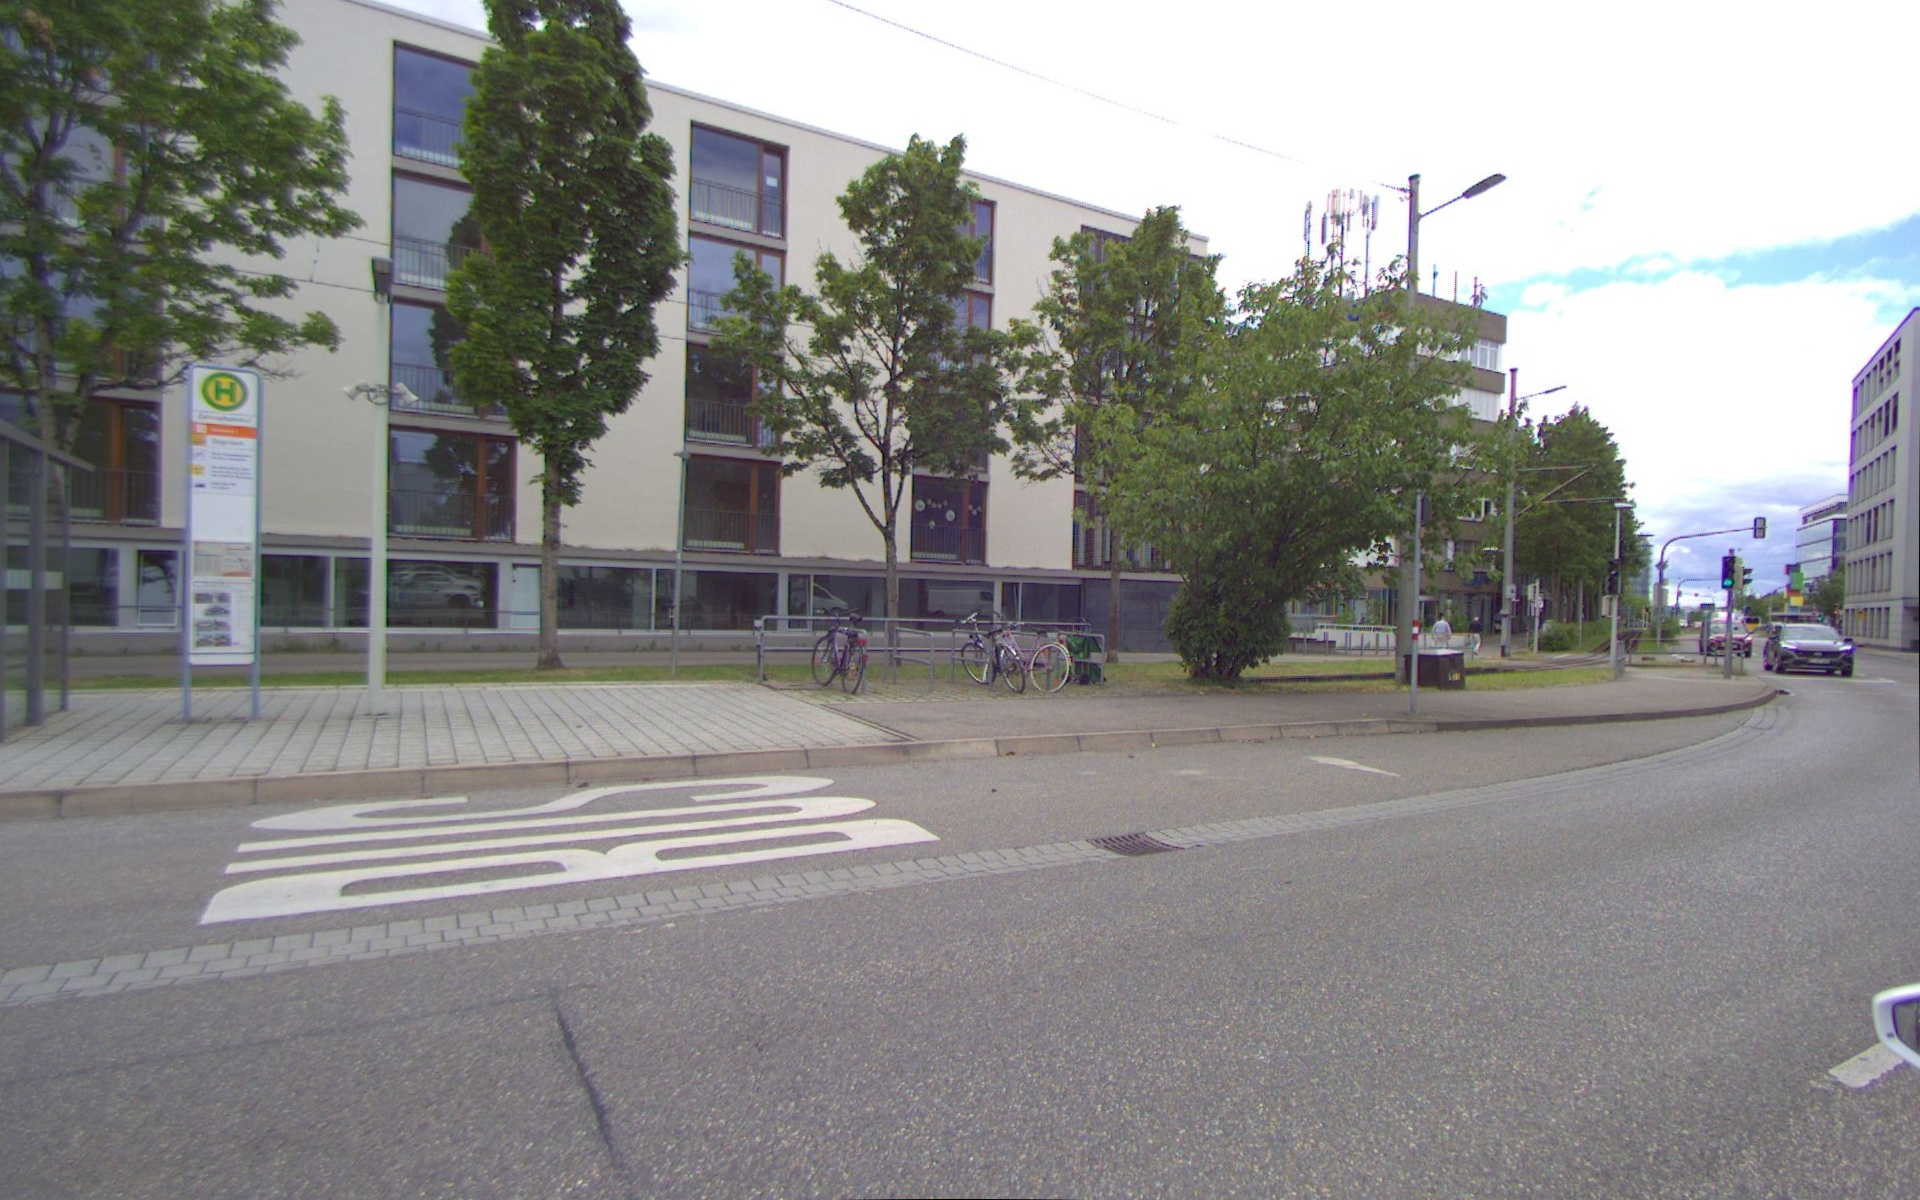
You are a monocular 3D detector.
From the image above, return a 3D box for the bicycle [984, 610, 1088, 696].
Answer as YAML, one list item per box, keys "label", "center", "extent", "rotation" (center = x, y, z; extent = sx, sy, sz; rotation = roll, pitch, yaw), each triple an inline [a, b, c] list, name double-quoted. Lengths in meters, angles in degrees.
- label: "bicycle"
  center: [1.088, 0.750, 14.725]
  extent: [0.405, 1.103, 1.689]
  rotation: [1, 2, -42]

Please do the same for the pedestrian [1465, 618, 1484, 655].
- label: "pedestrian"
  center: [24.279, 1.707, 47.415]
  extent: [0.679, 1.728, 0.680]
  rotation: [0, -1, 37]

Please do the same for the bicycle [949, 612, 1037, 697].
- label: "bicycle"
  center: [0.441, 0.748, 14.353]
  extent: [0.403, 1.060, 1.741]
  rotation: [1, 2, -28]

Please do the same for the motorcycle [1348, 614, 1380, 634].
- label: "motorcycle"
  center: [25.520, 1.507, 63.471]
  extent: [0.562, 1.215, 1.868]
  rotation: [1, 0, -33]

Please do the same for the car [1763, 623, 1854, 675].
- label: "car"
  center: [26.436, 1.481, 31.395]
  extent: [1.744, 1.498, 3.988]
  rotation: [-1, -2, 34]

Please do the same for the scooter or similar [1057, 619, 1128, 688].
- label: "scooter or similar"
  center: [2.076, 0.830, 15.796]
  extent: [0.767, 1.023, 0.781]
  rotation: [1, 0, -38]

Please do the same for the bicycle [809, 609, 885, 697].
- label: "bicycle"
  center: [-1.538, 0.678, 13.458]
  extent: [0.391, 1.039, 1.680]
  rotation: [1, 2, -28]

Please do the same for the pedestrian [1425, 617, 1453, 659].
- label: "pedestrian"
  center: [18.064, 1.434, 37.870]
  extent: [0.836, 1.547, 0.993]
  rotation: [0, -1, 33]

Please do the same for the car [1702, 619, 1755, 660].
- label: "car"
  center: [36.381, 1.842, 47.631]
  extent: [1.658, 1.832, 4.340]
  rotation: [-1, -2, 33]

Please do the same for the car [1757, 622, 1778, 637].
- label: "car"
  center: [91.910, 3.357, 114.343]
  extent: [1.737, 1.630, 4.171]
  rotation: [2, 0, 38]

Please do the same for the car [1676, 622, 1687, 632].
- label: "car"
  center: [137.108, 5.125, 190.773]
  extent: [1.645, 1.907, 3.986]
  rotation: [2, 0, 36]
